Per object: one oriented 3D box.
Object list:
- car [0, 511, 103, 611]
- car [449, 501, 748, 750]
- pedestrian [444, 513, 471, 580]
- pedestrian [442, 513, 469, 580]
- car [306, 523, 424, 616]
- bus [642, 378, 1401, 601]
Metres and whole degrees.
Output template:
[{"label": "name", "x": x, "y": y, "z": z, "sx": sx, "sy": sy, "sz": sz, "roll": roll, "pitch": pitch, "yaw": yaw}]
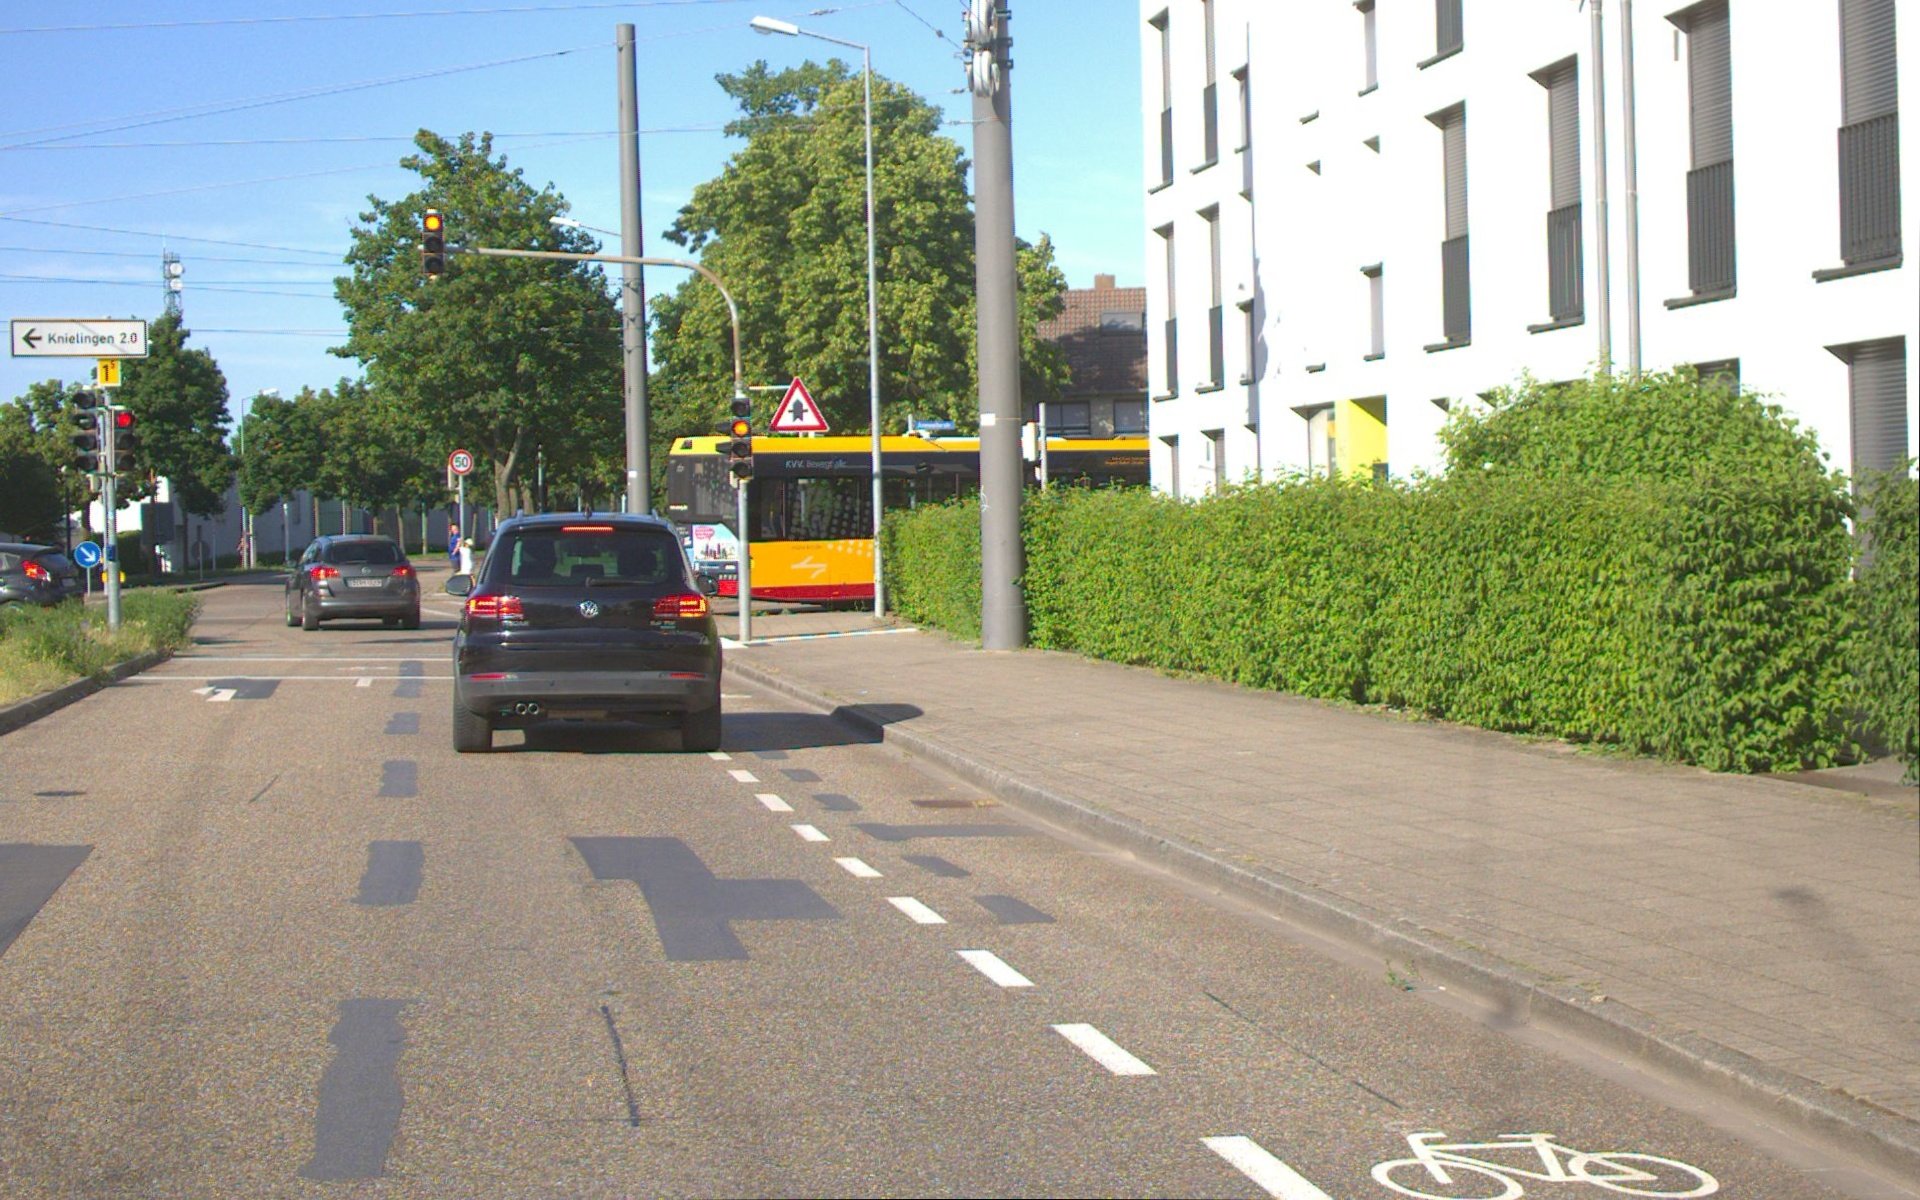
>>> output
[{"label": "car", "x": -15.270, "y": -0.540, "z": 52.634, "sx": 3.728, "sy": 1.426, "sz": 1.709, "roll": -3, "pitch": 2, "yaw": 6}, {"label": "car", "x": -2.676, "y": 0.111, "z": 24.702, "sx": 1.905, "sy": 1.637, "sz": 4.001, "roll": 0, "pitch": 2, "yaw": -9}, {"label": "pedestrian", "x": -12.457, "y": -1.328, "z": 85.204, "sx": 0.603, "sy": 1.634, "sz": 0.529, "roll": 0, "pitch": 1, "yaw": -3}, {"label": "pedestrian", "x": -12.413, "y": -1.313, "z": 84.639, "sx": 0.603, "sy": 1.634, "sz": 0.529, "roll": 0, "pitch": 1, "yaw": -3}, {"label": "car", "x": -9.312, "y": -0.499, "z": 53.882, "sx": 1.750, "sy": 1.382, "sz": 4.001, "roll": 0, "pitch": 2, "yaw": -9}, {"label": "bus", "x": 1.428, "y": -1.943, "z": 61.618, "sx": 14.636, "sy": 3.658, "sz": 2.848, "roll": -1, "pitch": 2, "yaw": -34}]
